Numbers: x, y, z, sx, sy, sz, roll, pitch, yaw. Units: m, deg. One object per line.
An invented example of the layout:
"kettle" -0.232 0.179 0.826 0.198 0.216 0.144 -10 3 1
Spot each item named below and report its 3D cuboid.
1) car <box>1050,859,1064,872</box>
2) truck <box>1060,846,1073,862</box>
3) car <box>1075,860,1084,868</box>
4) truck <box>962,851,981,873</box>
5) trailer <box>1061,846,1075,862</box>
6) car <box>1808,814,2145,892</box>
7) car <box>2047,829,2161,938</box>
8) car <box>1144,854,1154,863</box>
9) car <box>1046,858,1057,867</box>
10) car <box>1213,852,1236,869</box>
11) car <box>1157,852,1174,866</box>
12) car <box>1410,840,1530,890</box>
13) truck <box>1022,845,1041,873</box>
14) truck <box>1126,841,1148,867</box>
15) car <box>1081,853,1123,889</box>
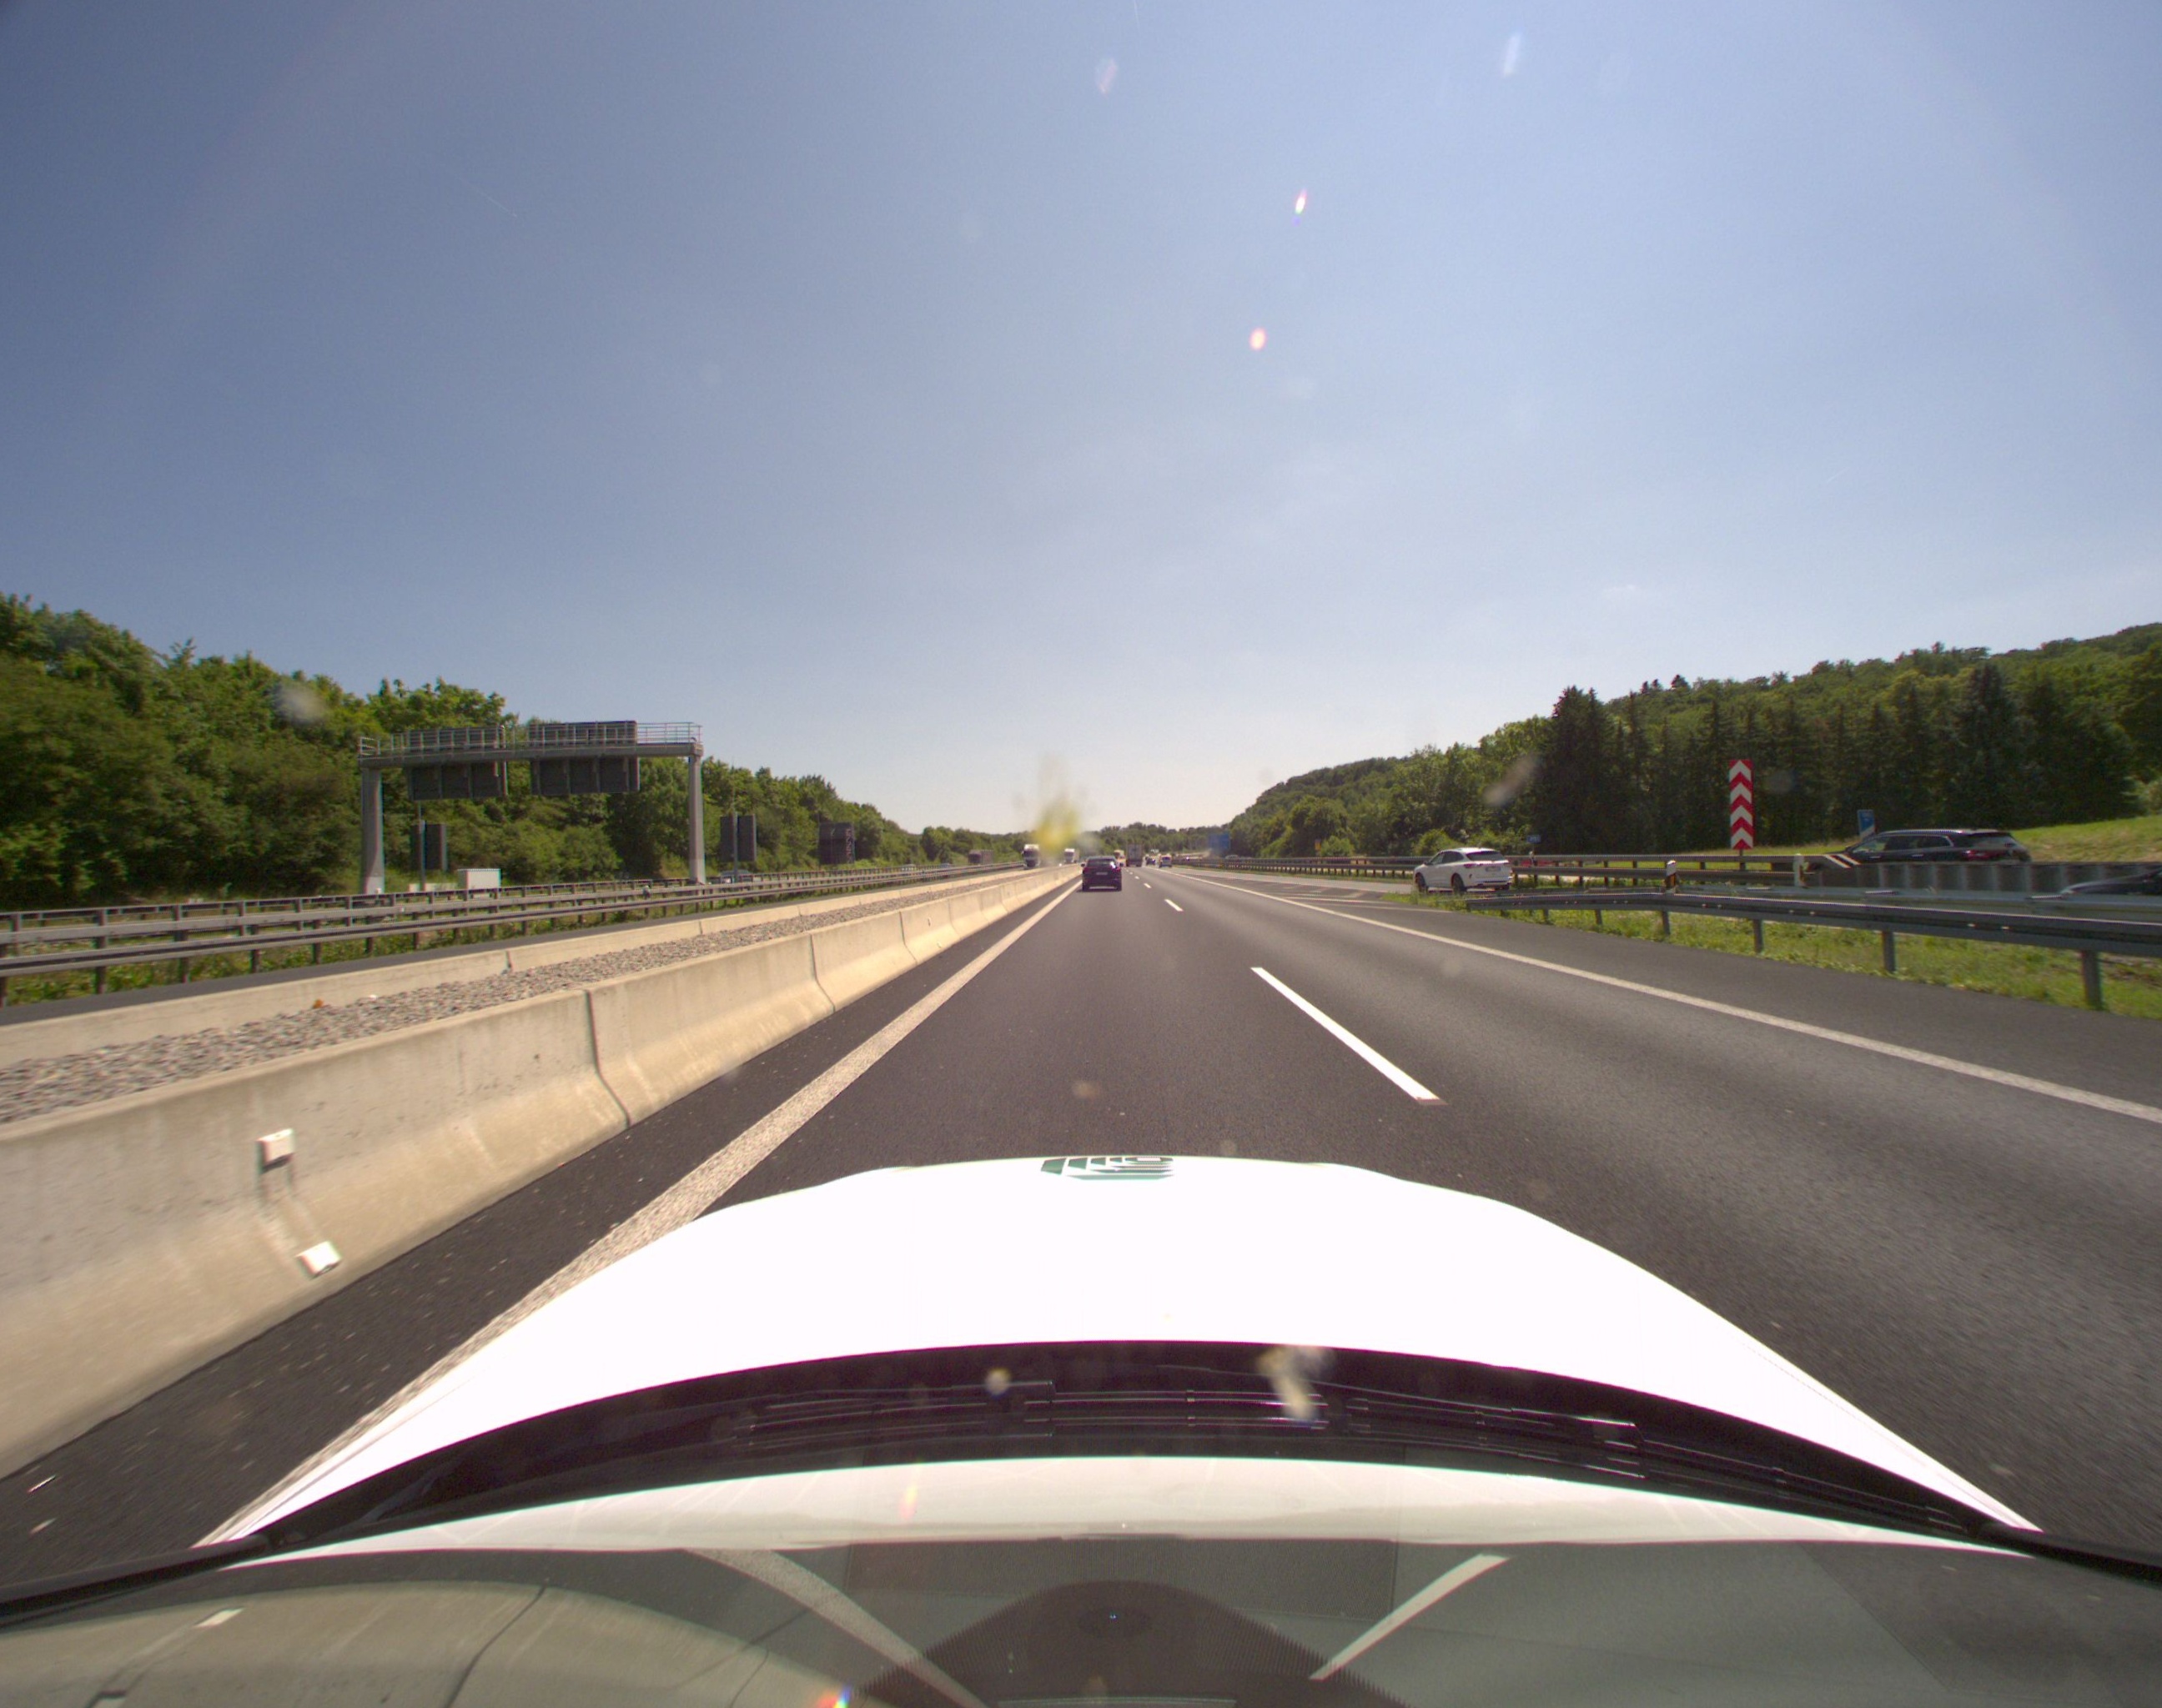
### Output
"car" -3.867 1.776 132.070 1.910 2.014 5.349 -2 0 2
"truck" -3.775 -0.069 209.202 2.917 3.973 5.901 0 -1 2
"car" -0.404 2.407 191.626 1.977 1.826 4.826 0 -1 1
"truck" -22.156 1.585 164.742 2.796 4.272 5.006 0 -1 6
"trailer" -3.395 0.083 218.099 2.898 4.045 12.070 0 -1 2
"car" 21.735 0.010 20.275 1.990 1.662 5.617 0 -1 -5
"car" 15.253 0.377 10.081 1.791 1.435 3.959 0 -1 -5
"car" 14.538 0.970 173.323 1.986 2.014 4.002 0 -1 2
"car" -5.934 1.812 165.705 1.734 1.826 4.908 0 -1 4
"car" 18.715 0.831 106.389 1.990 2.013 3.993 -3 -1 -4
"car" 12.944 0.758 124.865 1.987 2.013 3.999 -3 -1 0
"car" 14.130 0.397 29.909 1.990 1.662 4.460 0 -1 -5
"truck" -7.787 0.786 128.472 2.696 4.288 4.554 0 -1 1
"truck" 9.853 0.058 142.246 3.015 4.418 12.044 0 -1 8
"car" 0.931 0.774 38.216 1.774 1.577 3.999 2 -1 -1
